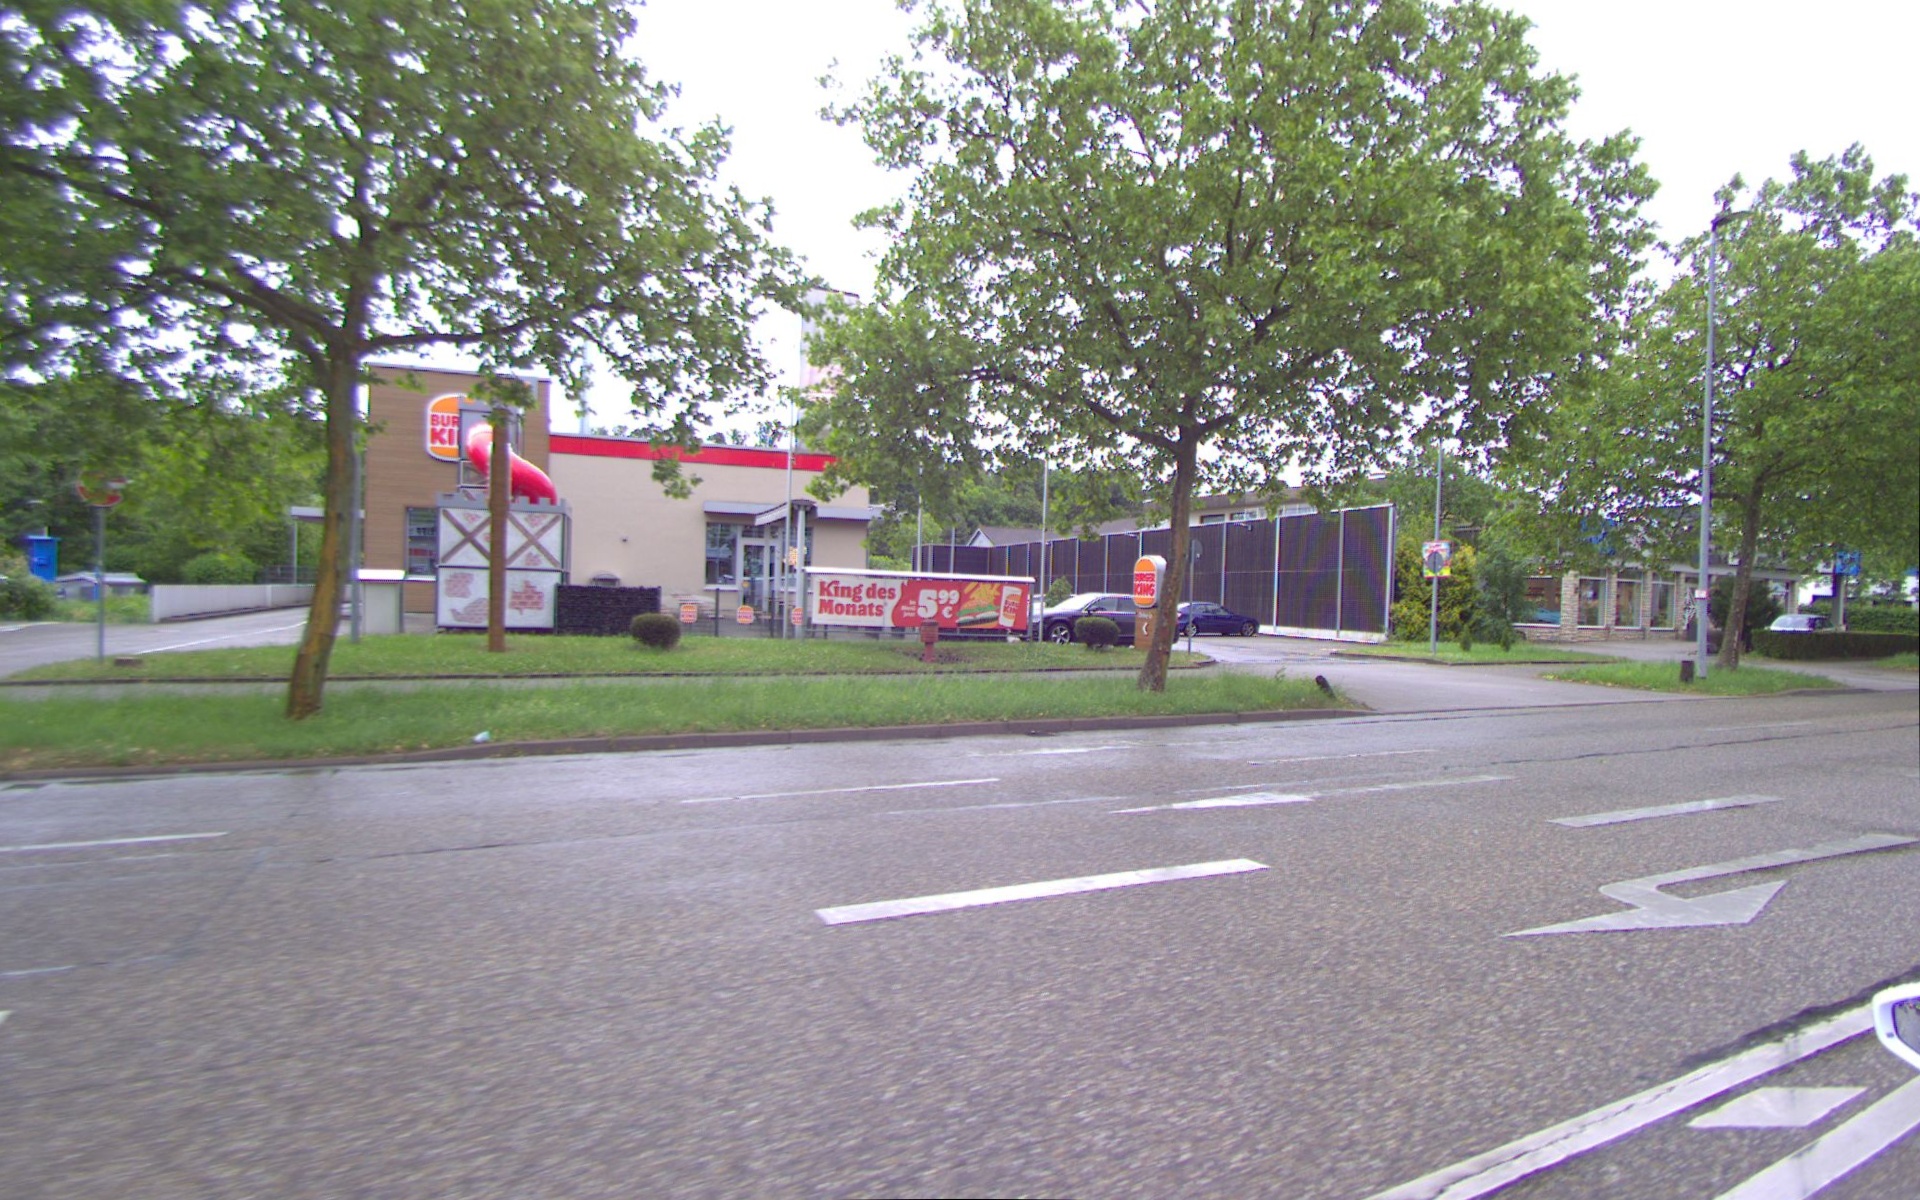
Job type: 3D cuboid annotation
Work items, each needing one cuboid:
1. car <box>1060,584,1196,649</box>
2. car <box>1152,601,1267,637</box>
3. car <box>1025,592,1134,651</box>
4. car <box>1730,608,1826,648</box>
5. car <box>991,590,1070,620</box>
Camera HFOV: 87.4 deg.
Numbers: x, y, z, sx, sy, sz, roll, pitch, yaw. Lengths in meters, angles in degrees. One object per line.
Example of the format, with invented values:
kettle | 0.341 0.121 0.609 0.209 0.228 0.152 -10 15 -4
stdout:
car | 4.348 0.416 26.077 3.146 1.445 1.431 4 0 -22
car | 10.199 0.743 41.136 4.247 1.383 1.864 0 0 -18
car | 2.807 0.479 24.163 1.271 1.171 3.169 1 3 -21
car | 32.614 1.100 40.031 3.895 1.506 1.814 1 -1 -31
car | 4.159 0.293 59.123 4.247 1.660 1.864 1 0 -18
